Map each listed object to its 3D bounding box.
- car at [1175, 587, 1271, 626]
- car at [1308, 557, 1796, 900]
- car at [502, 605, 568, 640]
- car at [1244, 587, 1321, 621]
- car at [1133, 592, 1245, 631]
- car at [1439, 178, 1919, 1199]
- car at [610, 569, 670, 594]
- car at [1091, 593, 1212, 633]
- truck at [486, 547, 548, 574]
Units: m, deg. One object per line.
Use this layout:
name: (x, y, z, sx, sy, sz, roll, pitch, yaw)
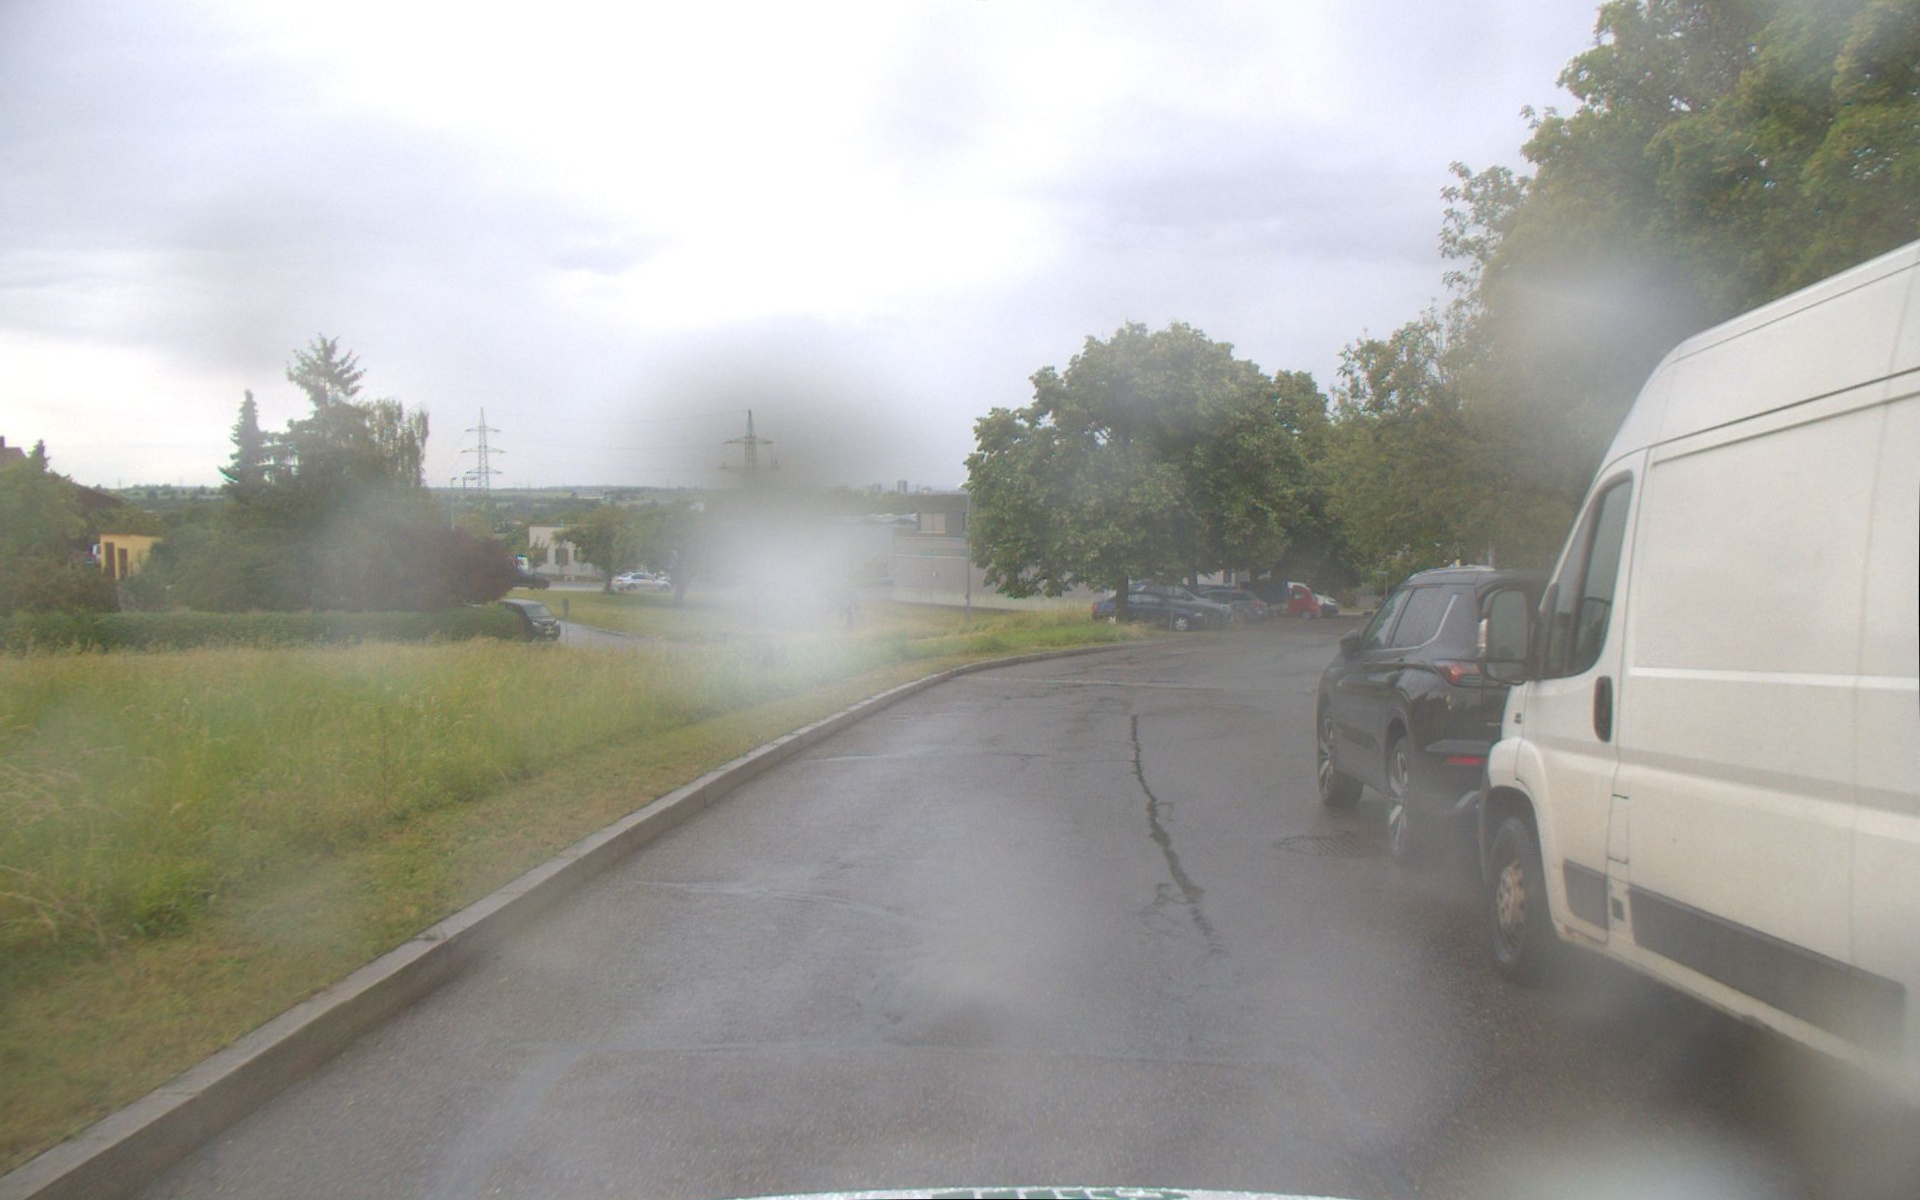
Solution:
car: (11.085, 0.263, 69.594, 3.788, 1.574, 1.774, 0, 0, 16)
car: (3.529, 0.627, 10.828, 1.771, 1.733, 4.601, 1, 1, 3)
car: (-21.984, 1.156, 85.524, 1.766, 1.624, 3.940, -1, 2, -41)
car: (15.989, 0.188, 81.940, 3.487, 1.634, 1.693, -1, 0, 20)
car: (8.605, 0.423, 62.046, 3.903, 1.384, 1.855, -1, 0, 17)
car: (3.270, 0.279, 4.970, 2.074, 2.510, 5.510, 1, 0, 0)
car: (-25.246, -1.465, 130.429, 4.229, 1.731, 1.775, 2, 2, -37)
car: (6.972, 0.476, 60.028, 4.077, 1.379, 1.863, -1, 0, 17)
truck: (-43.208, -3.863, 161.351, 5.269, 2.349, 2.405, 1, 3, -36)
